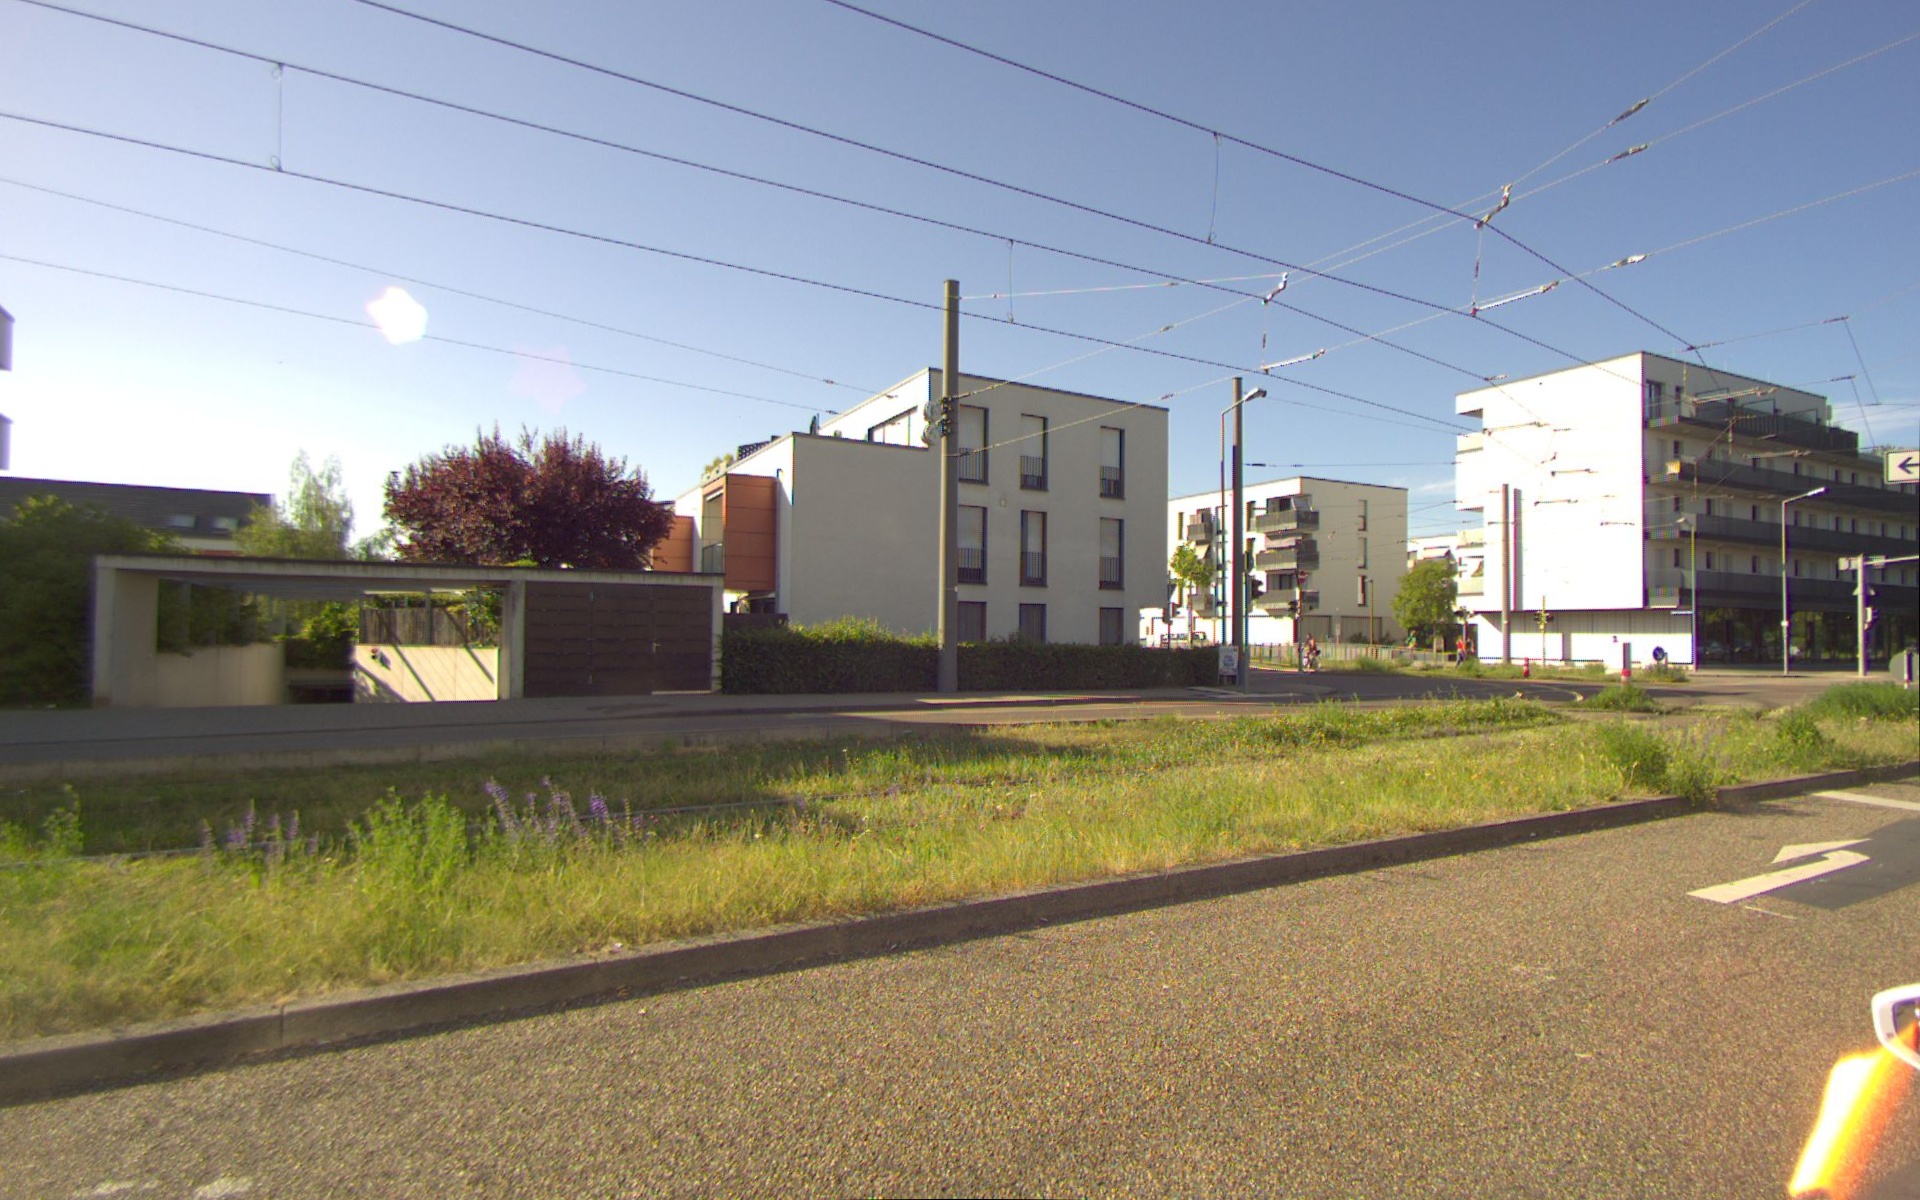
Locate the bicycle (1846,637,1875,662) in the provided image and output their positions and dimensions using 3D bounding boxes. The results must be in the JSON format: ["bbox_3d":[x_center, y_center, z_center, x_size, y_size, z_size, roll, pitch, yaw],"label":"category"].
[{"bbox_3d":[50.157,2.770,55.951,1.890,1.350,0.627,2,0,-30],"label":"bicycle"}]

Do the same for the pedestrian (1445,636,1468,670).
[{"bbox_3d":[24.744,2.650,50.073,0.736,1.626,0.765,2,0,-37],"label":"pedestrian"}]

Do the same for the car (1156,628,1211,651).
[{"bbox_3d":[17.806,3.162,80.213,1.974,1.595,4.309,2,0,-27],"label":"car"}]

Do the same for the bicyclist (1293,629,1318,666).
[{"bbox_3d":[15.554,2.131,45.204,0.635,1.635,0.777,2,0,-36],"label":"bicyclist"}]

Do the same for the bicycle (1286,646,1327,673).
[{"bbox_3d":[15.619,2.673,45.269,1.843,1.139,0.814,2,0,-36],"label":"bicycle"}]

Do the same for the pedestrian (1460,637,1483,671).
[{"bbox_3d":[25.156,2.659,49.392,0.736,1.626,0.765,2,0,-37],"label":"pedestrian"}]

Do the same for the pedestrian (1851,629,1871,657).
[{"bbox_3d":[50.197,2.410,55.977,0.589,1.529,0.640,2,0,-29],"label":"pedestrian"}]
